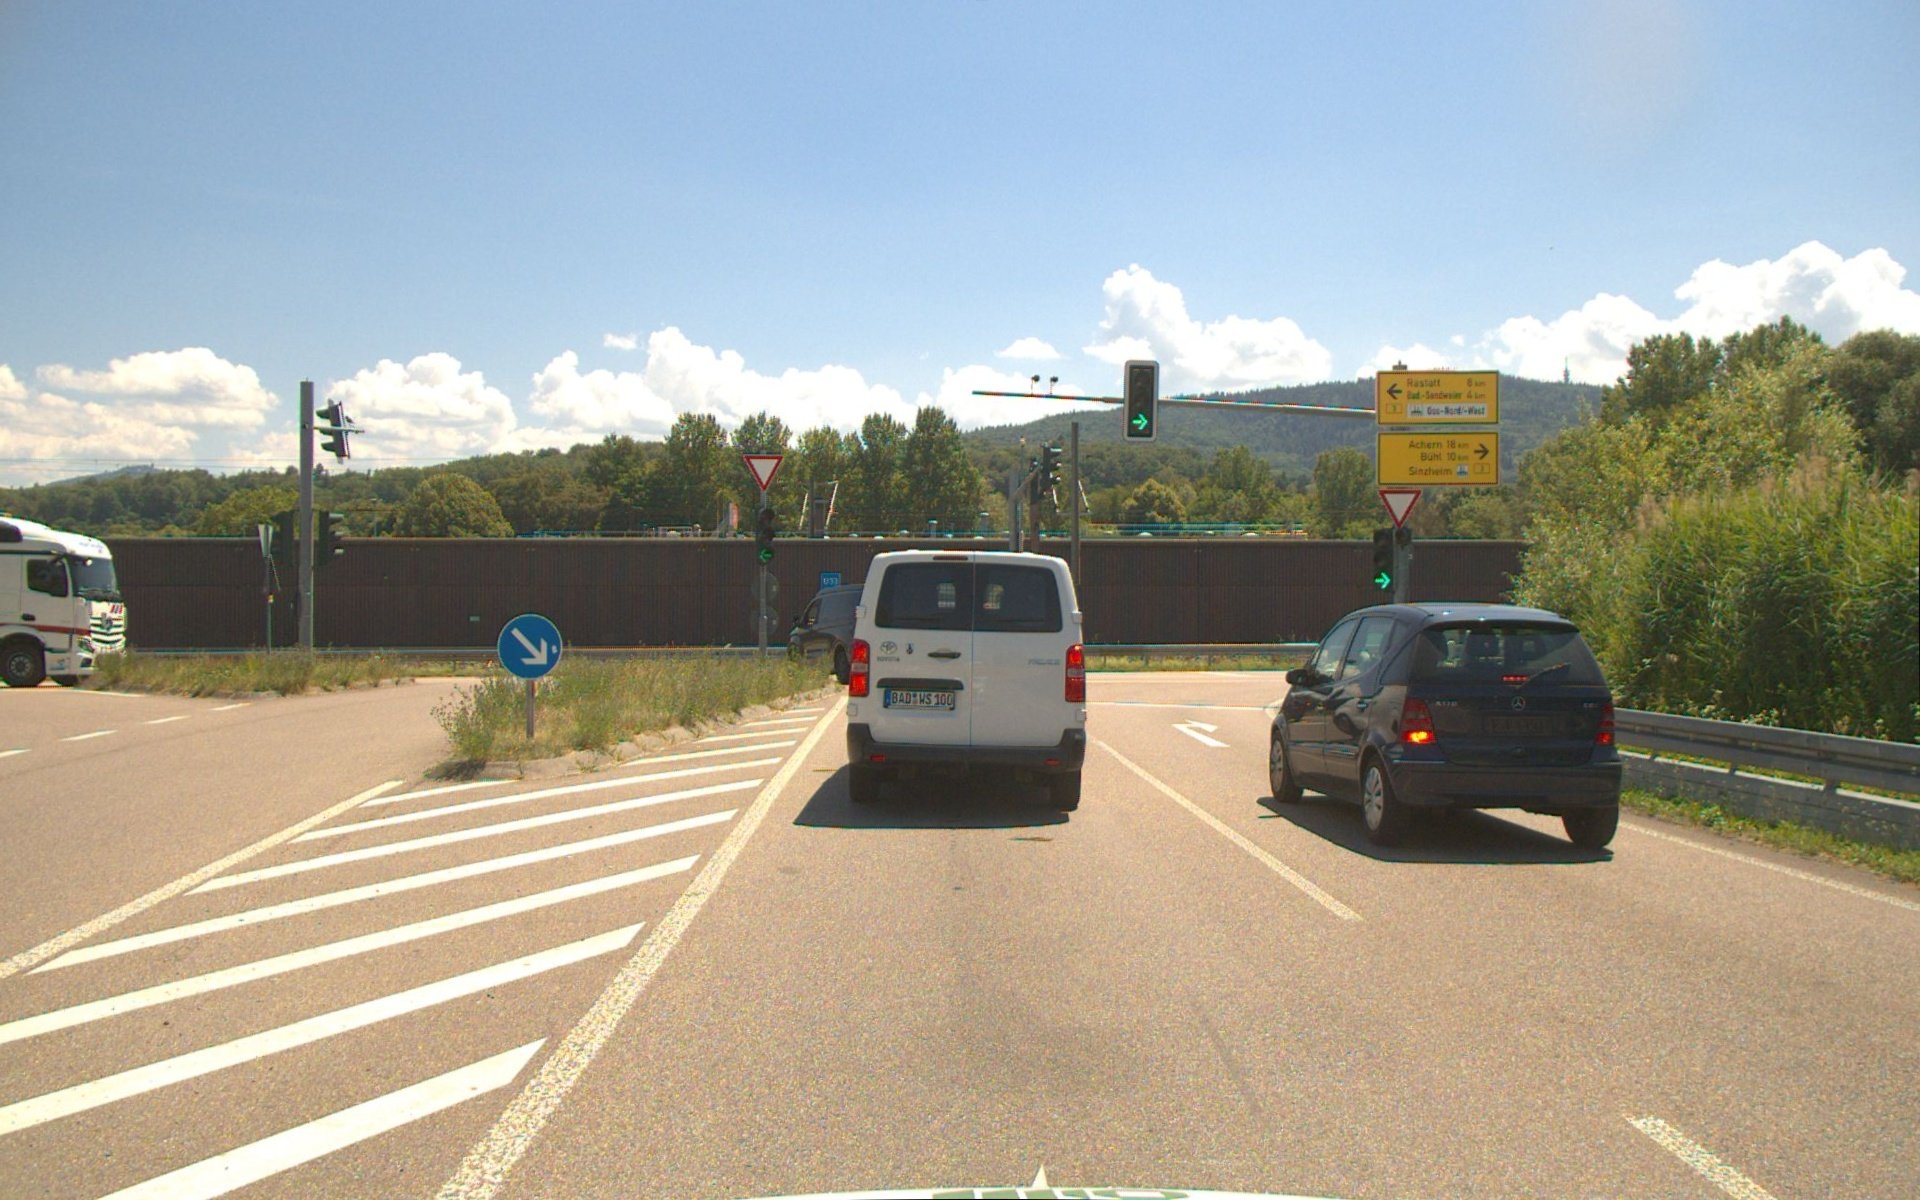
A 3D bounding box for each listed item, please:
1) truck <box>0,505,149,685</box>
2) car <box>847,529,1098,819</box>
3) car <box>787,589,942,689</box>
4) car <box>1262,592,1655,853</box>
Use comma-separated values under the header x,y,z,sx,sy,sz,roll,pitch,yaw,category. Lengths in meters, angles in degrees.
x,y,z,sx,sy,sz,roll,pitch,yaw,category
-22.494,-0.108,38.547,5.650,4.024,3.060,0,-1,-3,truck
0.050,0.542,13.784,1.778,2.053,3.999,0,0,-1,car
-2.189,0.818,36.388,1.966,2.049,4.679,1,-1,-23,car
3.494,0.790,12.258,1.635,1.628,3.551,1,0,-4,car
